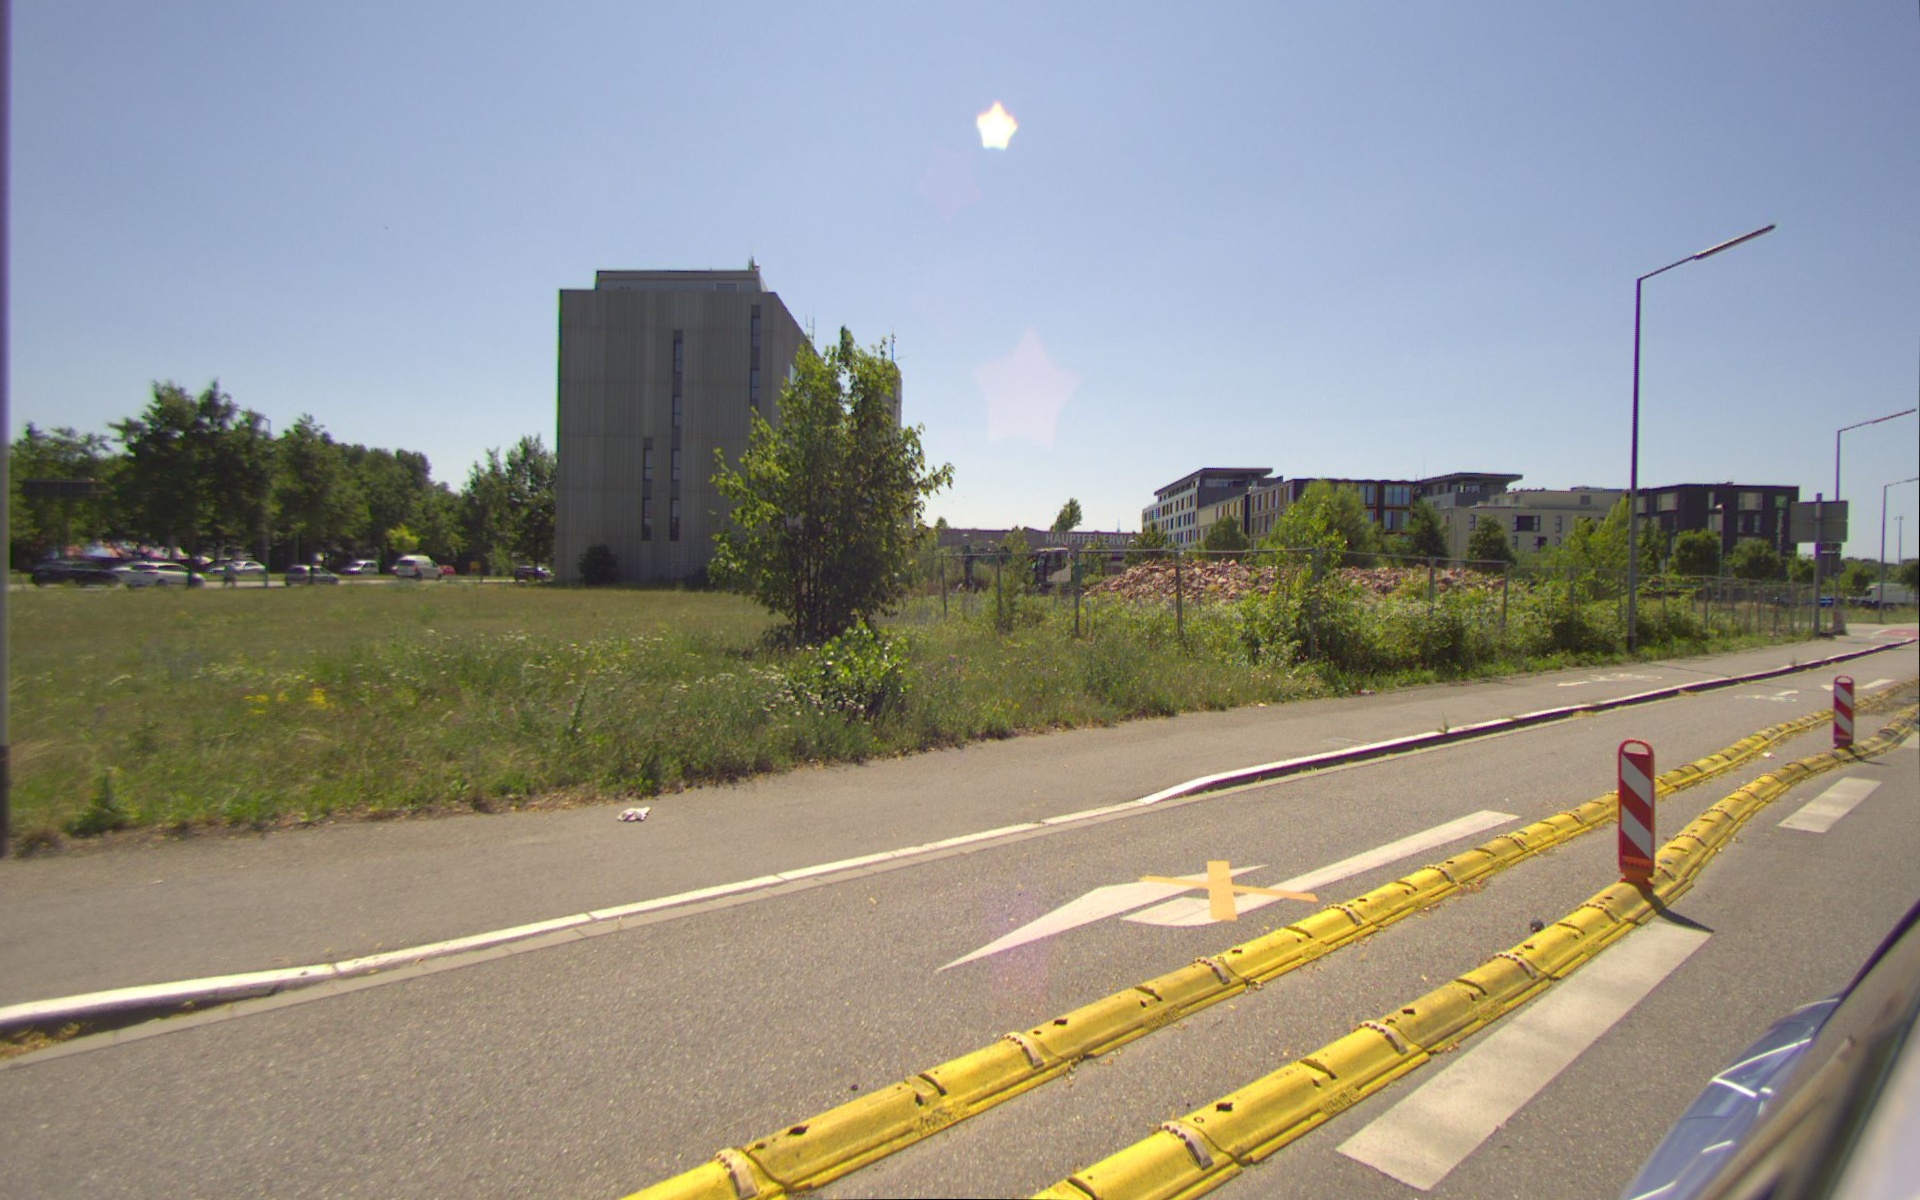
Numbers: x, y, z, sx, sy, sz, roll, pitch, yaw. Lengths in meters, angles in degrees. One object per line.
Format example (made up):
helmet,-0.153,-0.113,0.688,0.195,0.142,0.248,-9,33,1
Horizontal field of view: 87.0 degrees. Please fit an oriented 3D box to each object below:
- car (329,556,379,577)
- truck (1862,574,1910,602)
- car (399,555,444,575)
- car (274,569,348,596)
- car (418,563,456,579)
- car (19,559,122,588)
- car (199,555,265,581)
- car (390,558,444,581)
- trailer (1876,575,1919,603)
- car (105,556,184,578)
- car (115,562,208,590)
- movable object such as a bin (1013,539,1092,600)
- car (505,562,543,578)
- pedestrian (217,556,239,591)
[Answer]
car,-61.793,-3.376,103.312,1.963,2.039,5.083,0,1,2
truck,115.873,-1.475,126.720,3.928,3.377,1.998,1,1,4
car,-57.687,-3.719,108.560,1.963,2.039,5.083,0,1,2
car,-42.763,-1.129,66.836,1.961,1.727,4.942,0,1,-3
car,-61.116,-3.370,118.358,1.963,1.873,4.603,0,1,2
car,-46.471,-1.372,52.984,1.961,1.425,4.001,0,1,-1
car,-58.492,-2.572,81.439,1.963,2.001,4.571,0,1,2
car,-47.640,-2.666,88.916,1.963,1.873,4.985,0,1,2
trailer,119.668,-1.356,126.423,8.030,3.390,1.998,1,1,4
car,-61.614,-2.492,76.568,1.963,1.590,4.779,0,1,2
car,-42.649,-1.263,54.158,1.604,1.462,4.015,0,1,6
movable object such as a bin,4.938,-1.589,53.973,3.619,3.101,2.207,0,1,-35
car,-44.772,-3.086,103.973,1.962,1.616,4.447,0,1,0
pedestrian,-33.875,-1.218,46.842,0.489,1.583,0.737,0,0,-1
